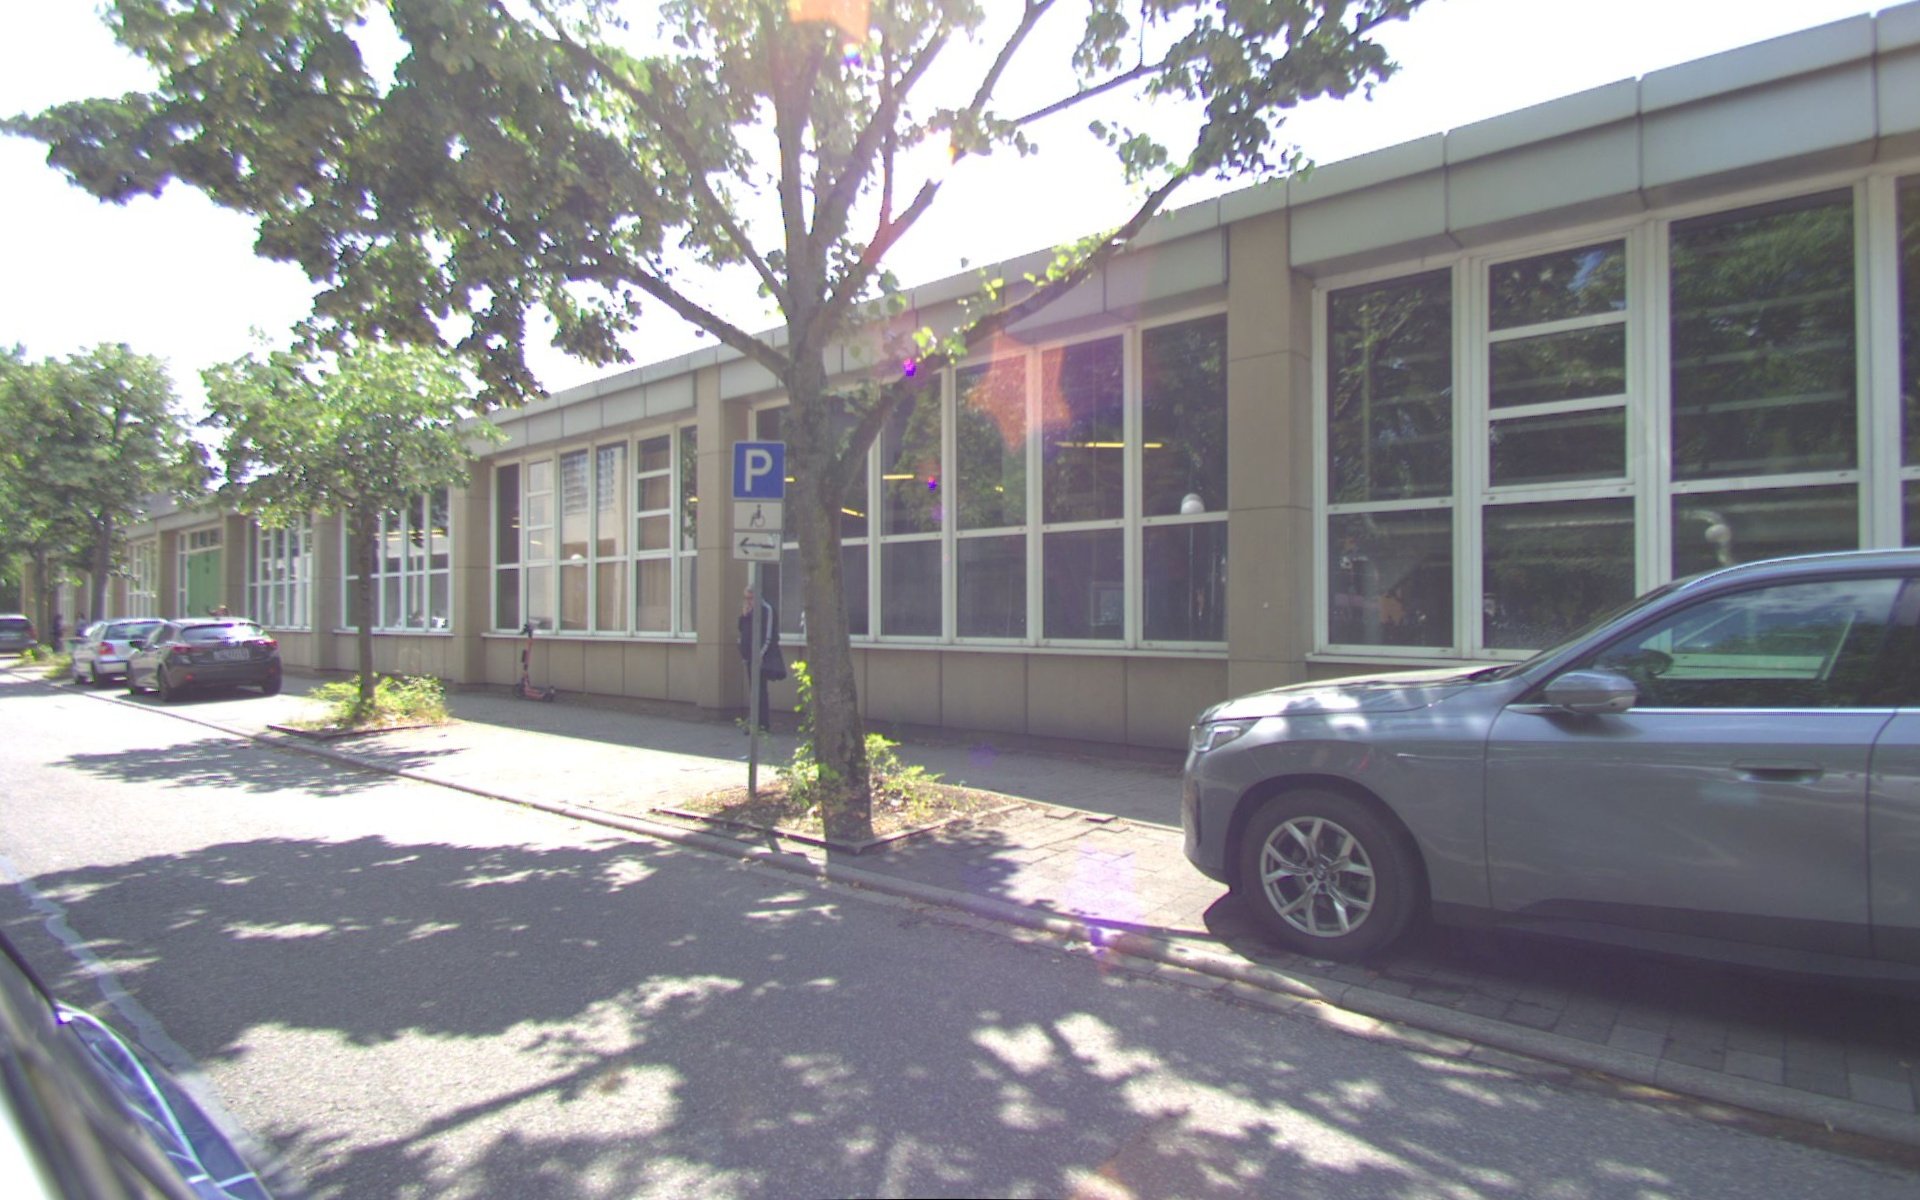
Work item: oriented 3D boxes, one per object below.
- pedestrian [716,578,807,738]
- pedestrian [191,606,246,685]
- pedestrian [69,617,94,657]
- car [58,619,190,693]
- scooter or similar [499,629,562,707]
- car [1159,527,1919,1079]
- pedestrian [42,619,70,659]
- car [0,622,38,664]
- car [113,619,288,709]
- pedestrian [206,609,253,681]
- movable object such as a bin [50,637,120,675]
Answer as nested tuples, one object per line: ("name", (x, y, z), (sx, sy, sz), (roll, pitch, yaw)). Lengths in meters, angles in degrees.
("pedestrian", (-2.331, 0.660, 11.886), (0.790, 1.800, 0.661), (-2, -1, 40))
("pedestrian", (-16.722, 1.014, 22.843), (0.596, 1.741, 0.793), (-1, -1, 15))
("pedestrian", (-35.171, 1.494, 40.506), (0.550, 1.593, 0.598), (-2, -4, 38))
("car", (-18.863, 1.205, 22.785), (3.749, 1.460, 1.613), (-1, 1, 40))
("scooter or similar", (-7.022, 1.097, 16.526), (1.245, 1.216, 0.379), (-2, 0, 40))
("car", (3.228, 0.586, 3.859), (4.511, 1.644, 1.804), (-1, 1, 38))
("pedestrian", (-35.674, 1.544, 39.932), (0.595, 1.593, 0.553), (1, -3, -19))
("car", (-35.572, 1.585, 37.338), (3.673, 1.460, 1.781), (-1, 1, 40))
("car", (-14.471, 1.163, 19.206), (4.286, 1.446, 1.708), (-2, 0, 40))
("pedestrian", (-16.088, 0.981, 22.276), (0.785, 1.553, 0.665), (1, -2, -40))
("movable object such as a bin", (-24.966, 1.582, 28.882), (1.695, 0.992, 1.278), (-2, 0, 41))
